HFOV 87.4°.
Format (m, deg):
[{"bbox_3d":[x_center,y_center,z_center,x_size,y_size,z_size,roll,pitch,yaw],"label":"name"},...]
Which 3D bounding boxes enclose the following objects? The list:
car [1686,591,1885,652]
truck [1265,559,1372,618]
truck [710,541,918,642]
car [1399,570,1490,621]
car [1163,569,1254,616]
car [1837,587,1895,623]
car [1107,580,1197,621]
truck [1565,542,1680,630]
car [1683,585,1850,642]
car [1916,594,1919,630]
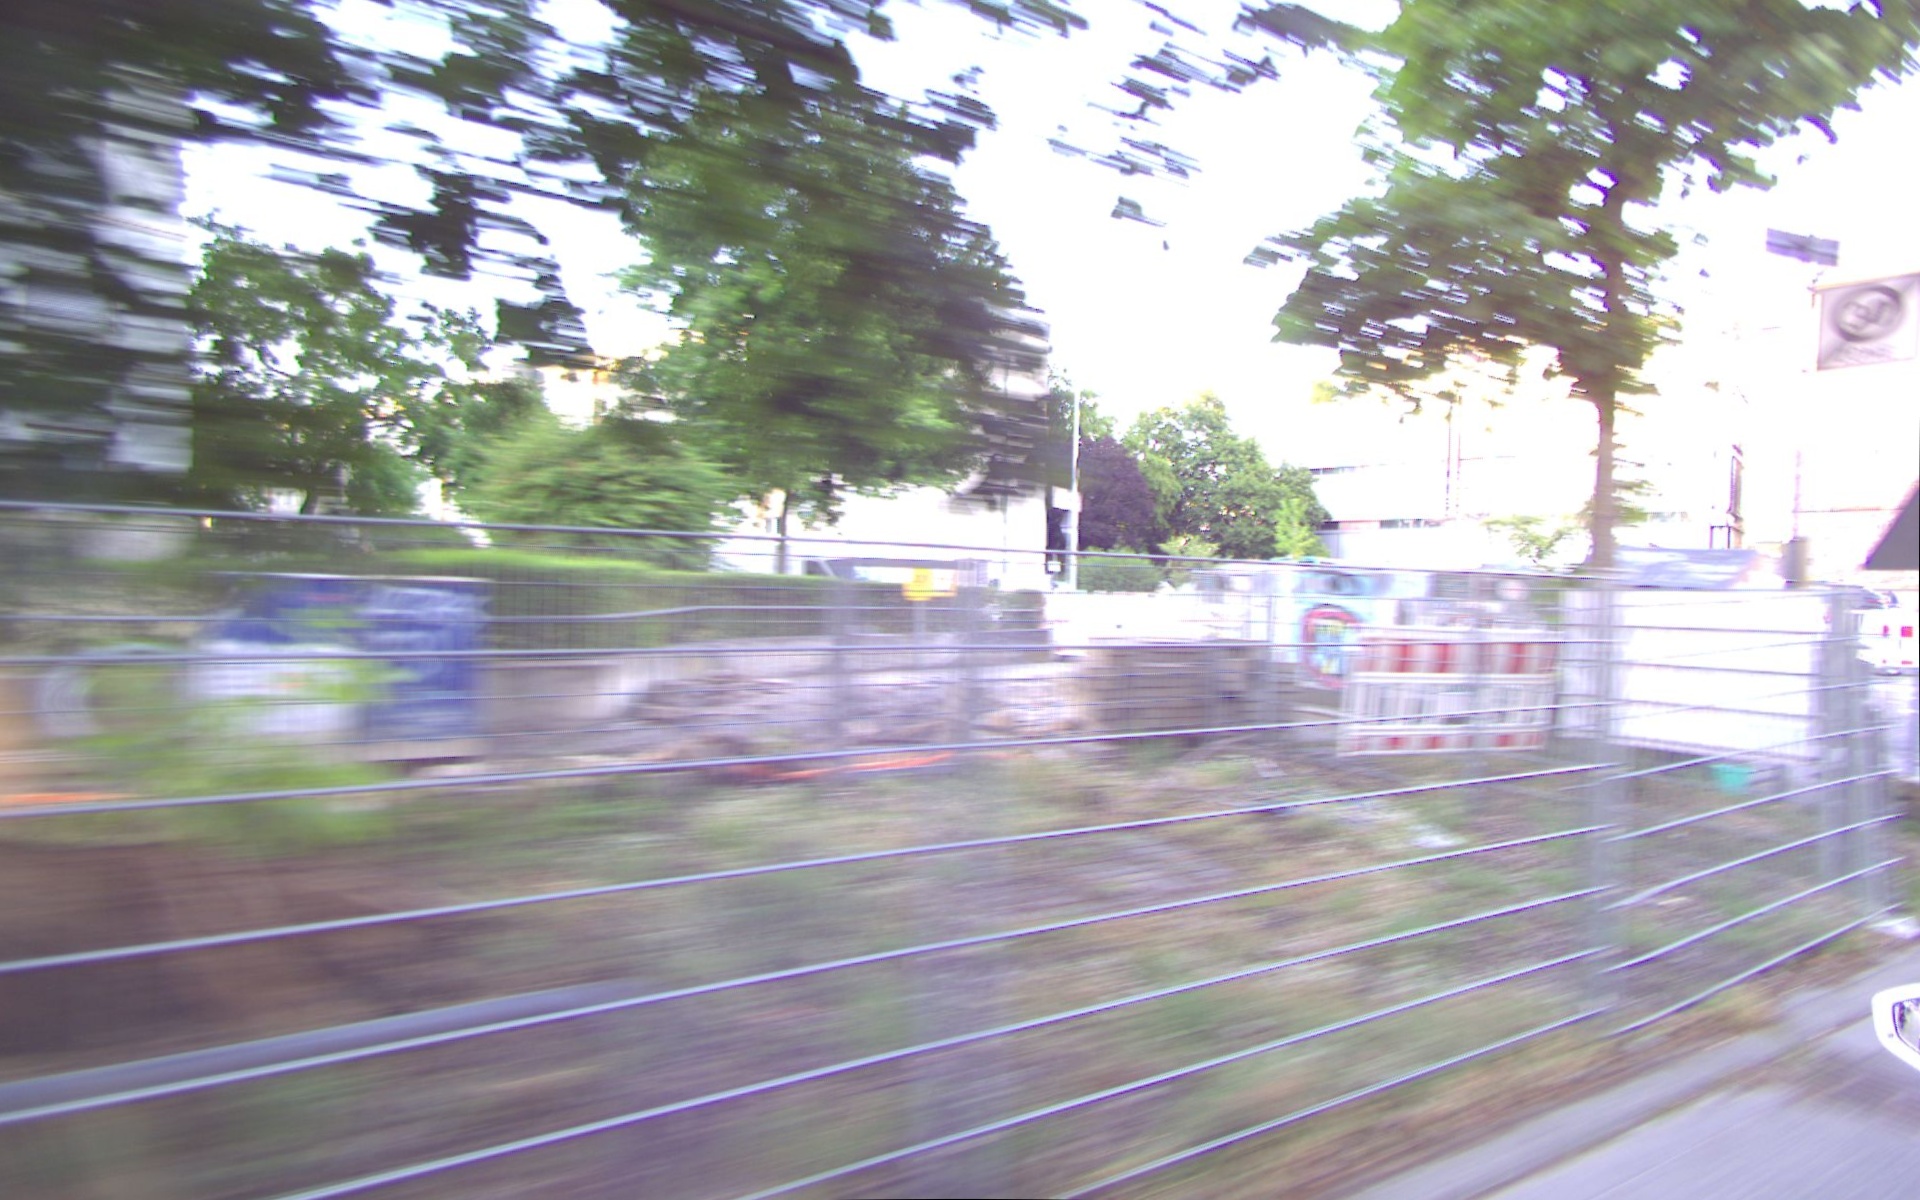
[{"bbox_3d":[24.901,0.585,30.428,4.536,1.660,1.565,1,1,45],"label":"car"},{"bbox_3d":[13.779,-0.444,38.489,4.482,2.119,2.084,0,1,-44],"label":"truck"},{"bbox_3d":[-4.056,-0.290,27.242,5.951,2.456,2.099,2,2,38],"label":"truck"},{"bbox_3d":[17.726,-0.175,36.671,1.970,1.750,4.279,2,2,40],"label":"car"},{"bbox_3d":[10.451,-0.306,42.088,1.971,1.850,4.203,2,1,42],"label":"car"},{"bbox_3d":[41.796,0.215,46.340,1.876,1.558,4.155,2,2,43],"label":"car"},{"bbox_3d":[8.431,0.003,43.950,1.971,1.669,4.203,2,1,42],"label":"car"},{"bbox_3d":[21.619,-0.463,32.696,2.309,2.652,4.943,2,2,43],"label":"truck"},{"bbox_3d":[23.118,0.339,28.859,3.594,1.524,1.627,1,1,45],"label":"car"},{"bbox_3d":[43.570,0.527,44.317,1.876,1.558,4.155,2,2,43],"label":"car"}]
